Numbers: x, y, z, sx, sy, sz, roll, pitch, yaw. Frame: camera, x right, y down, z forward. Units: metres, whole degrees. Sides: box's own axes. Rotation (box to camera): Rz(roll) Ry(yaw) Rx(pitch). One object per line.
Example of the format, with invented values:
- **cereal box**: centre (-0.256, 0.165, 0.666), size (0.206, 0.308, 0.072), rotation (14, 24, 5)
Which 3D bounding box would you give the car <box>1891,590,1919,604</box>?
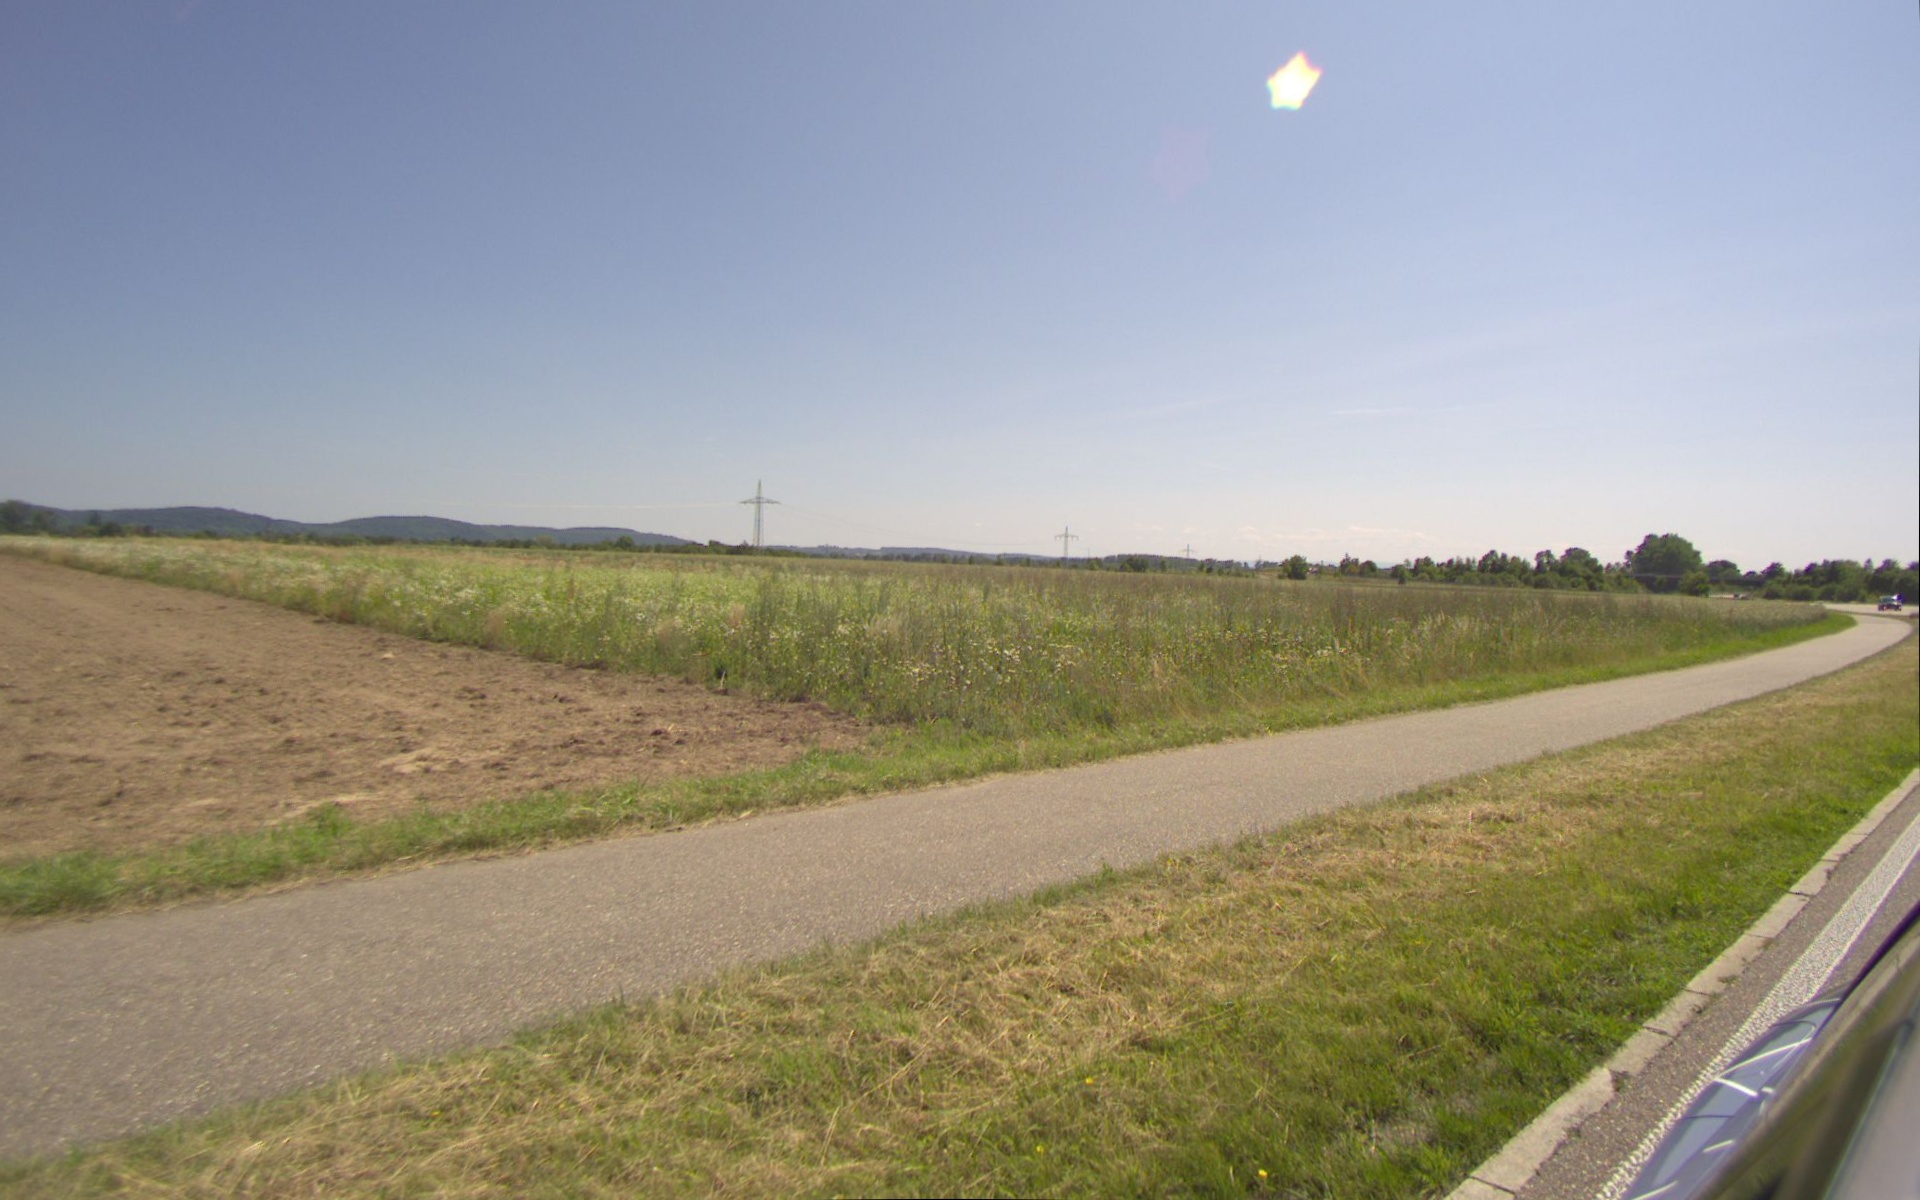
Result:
- **car**: centre (113.890, -0.341, 121.985), size (1.973, 1.616, 5.330), rotation (1, 1, 37)
